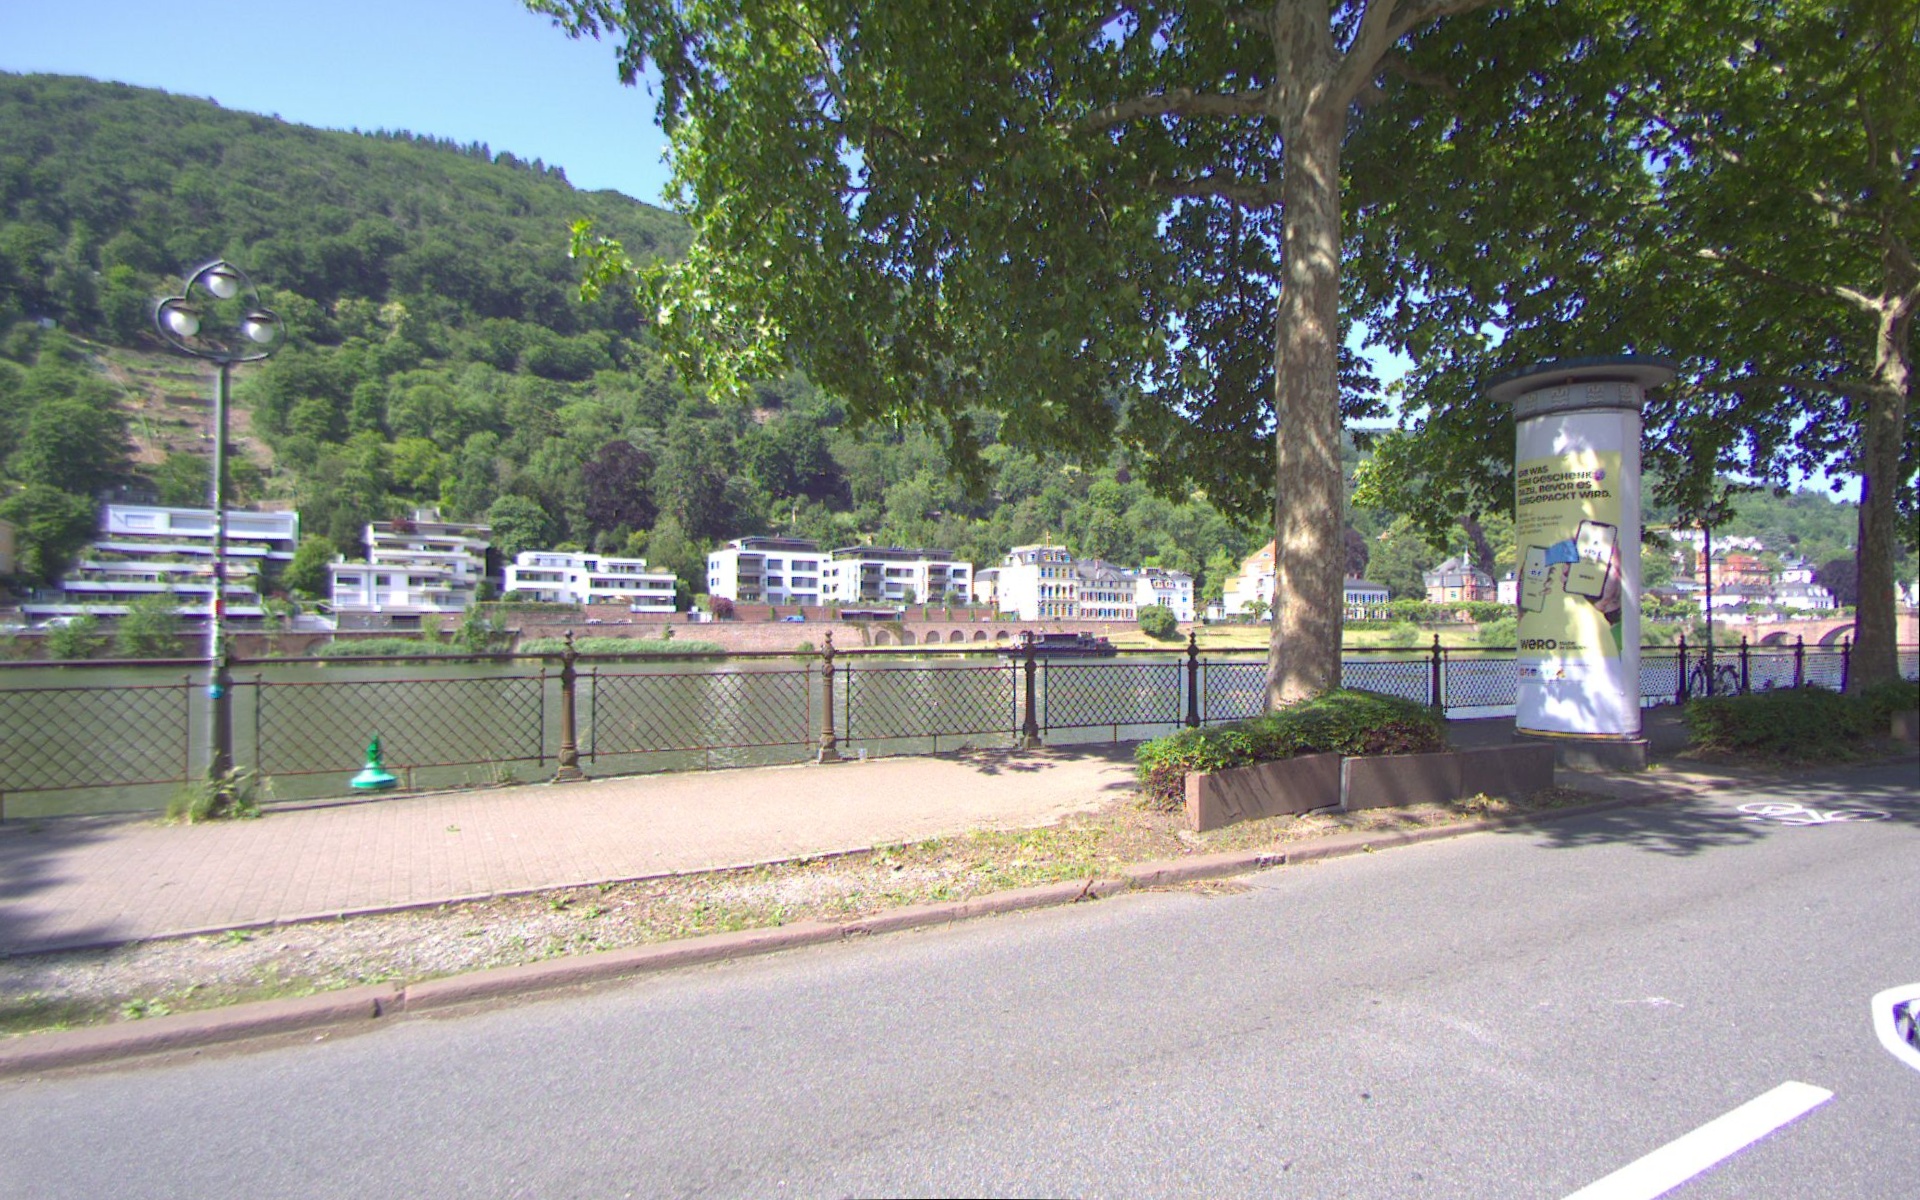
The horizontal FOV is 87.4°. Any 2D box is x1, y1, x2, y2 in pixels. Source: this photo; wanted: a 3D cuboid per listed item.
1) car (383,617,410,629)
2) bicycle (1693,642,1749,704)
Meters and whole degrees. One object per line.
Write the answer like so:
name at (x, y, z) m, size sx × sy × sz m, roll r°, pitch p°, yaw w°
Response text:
car at (-95.453, 3.880, 170.082) m, size 3.953 × 2.041 × 1.984 m, roll 0°, pitch 1°, yaw -30°
bicycle at (14.367, 1.369, 18.966) m, size 1.281 × 1.106 × 0.357 m, roll 1°, pitch 2°, yaw -31°
